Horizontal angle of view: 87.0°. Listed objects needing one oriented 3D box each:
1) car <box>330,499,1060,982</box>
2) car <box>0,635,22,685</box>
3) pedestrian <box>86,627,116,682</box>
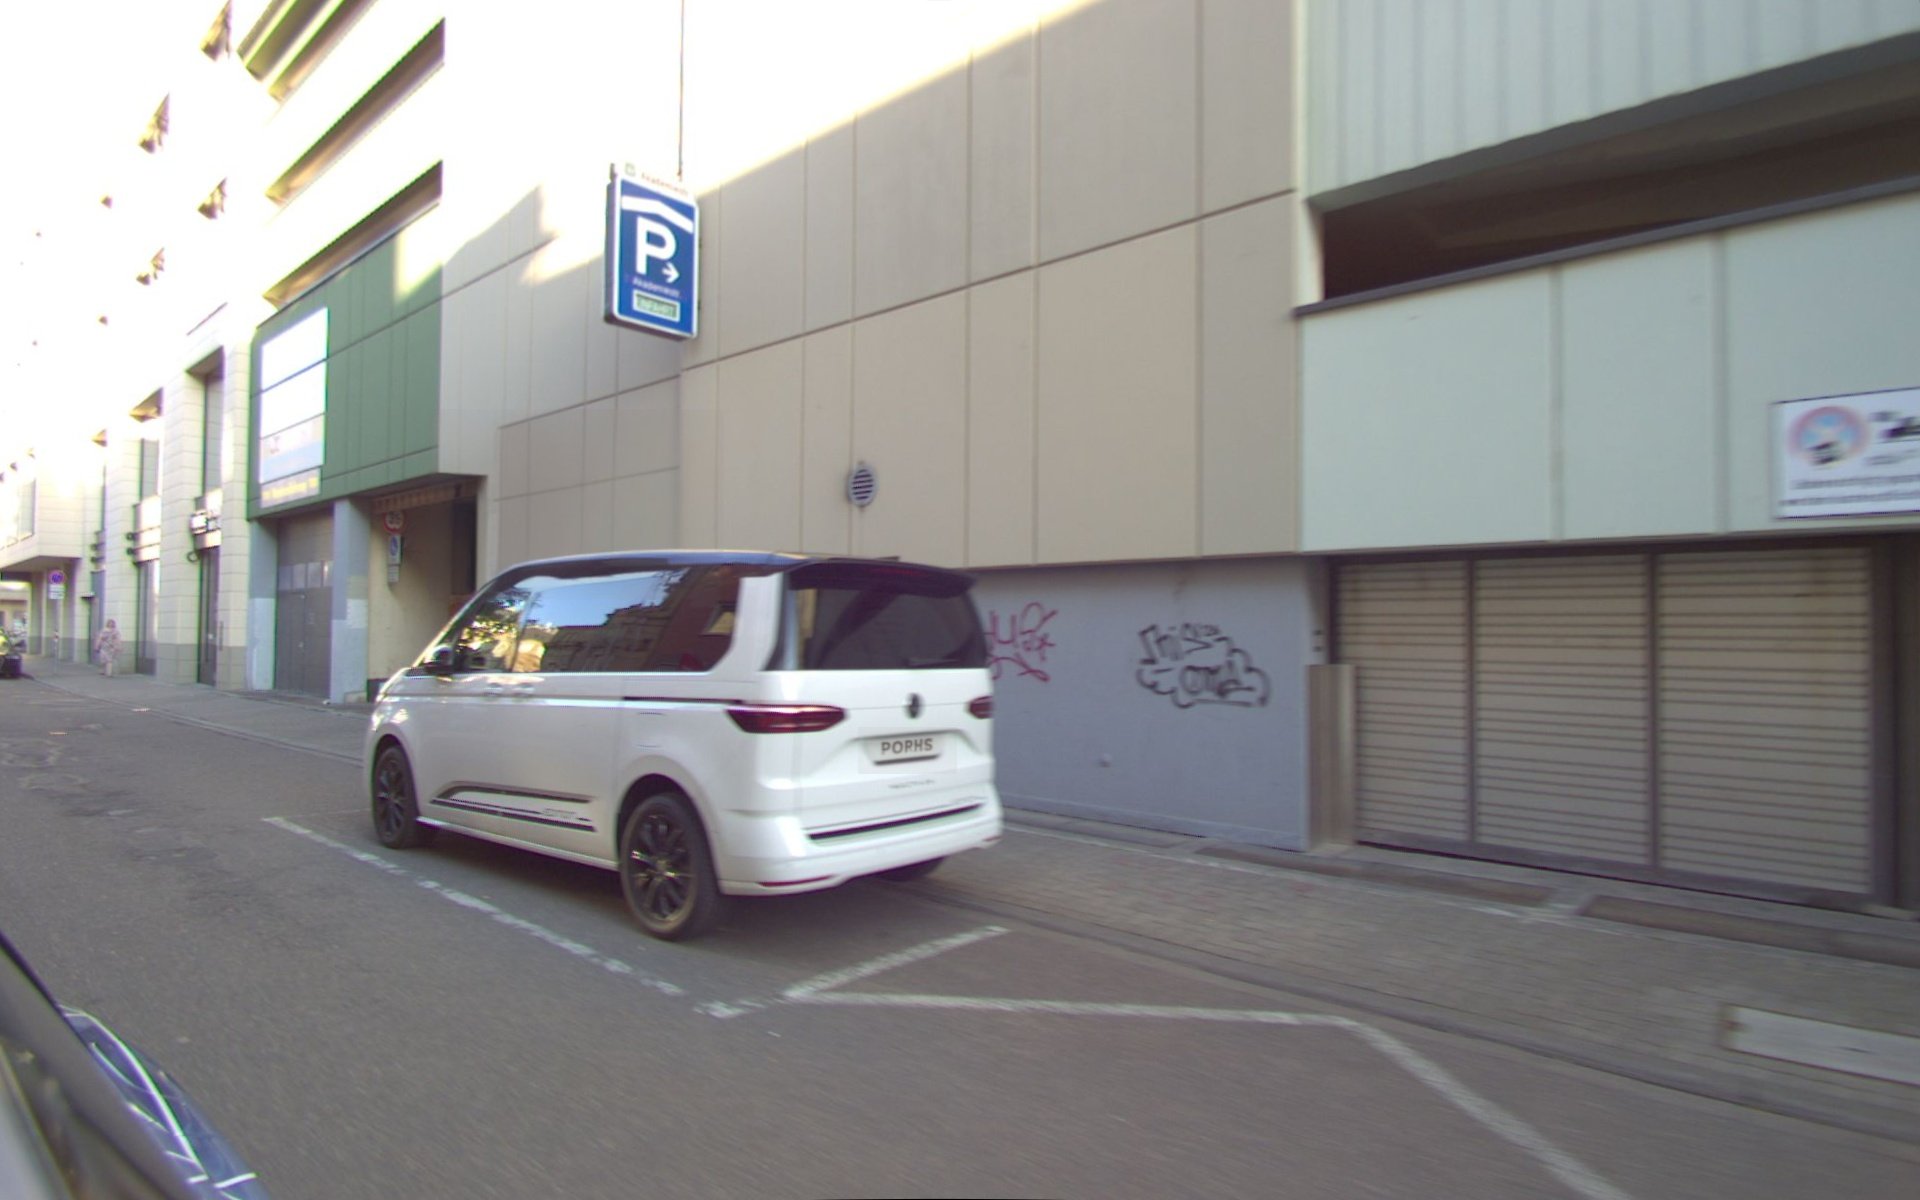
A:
[{"bbox_3d":[-1.939,0.662,6.428,4.845,1.955,1.974,-2,-4,39],"label":"car"},{"bbox_3d":[-30.619,1.816,31.375,4.560,1.428,1.971,-1,-4,44],"label":"car"},{"bbox_3d":[-26.295,1.660,30.991,0.565,1.638,0.612,-2,-2,41],"label":"pedestrian"}]
